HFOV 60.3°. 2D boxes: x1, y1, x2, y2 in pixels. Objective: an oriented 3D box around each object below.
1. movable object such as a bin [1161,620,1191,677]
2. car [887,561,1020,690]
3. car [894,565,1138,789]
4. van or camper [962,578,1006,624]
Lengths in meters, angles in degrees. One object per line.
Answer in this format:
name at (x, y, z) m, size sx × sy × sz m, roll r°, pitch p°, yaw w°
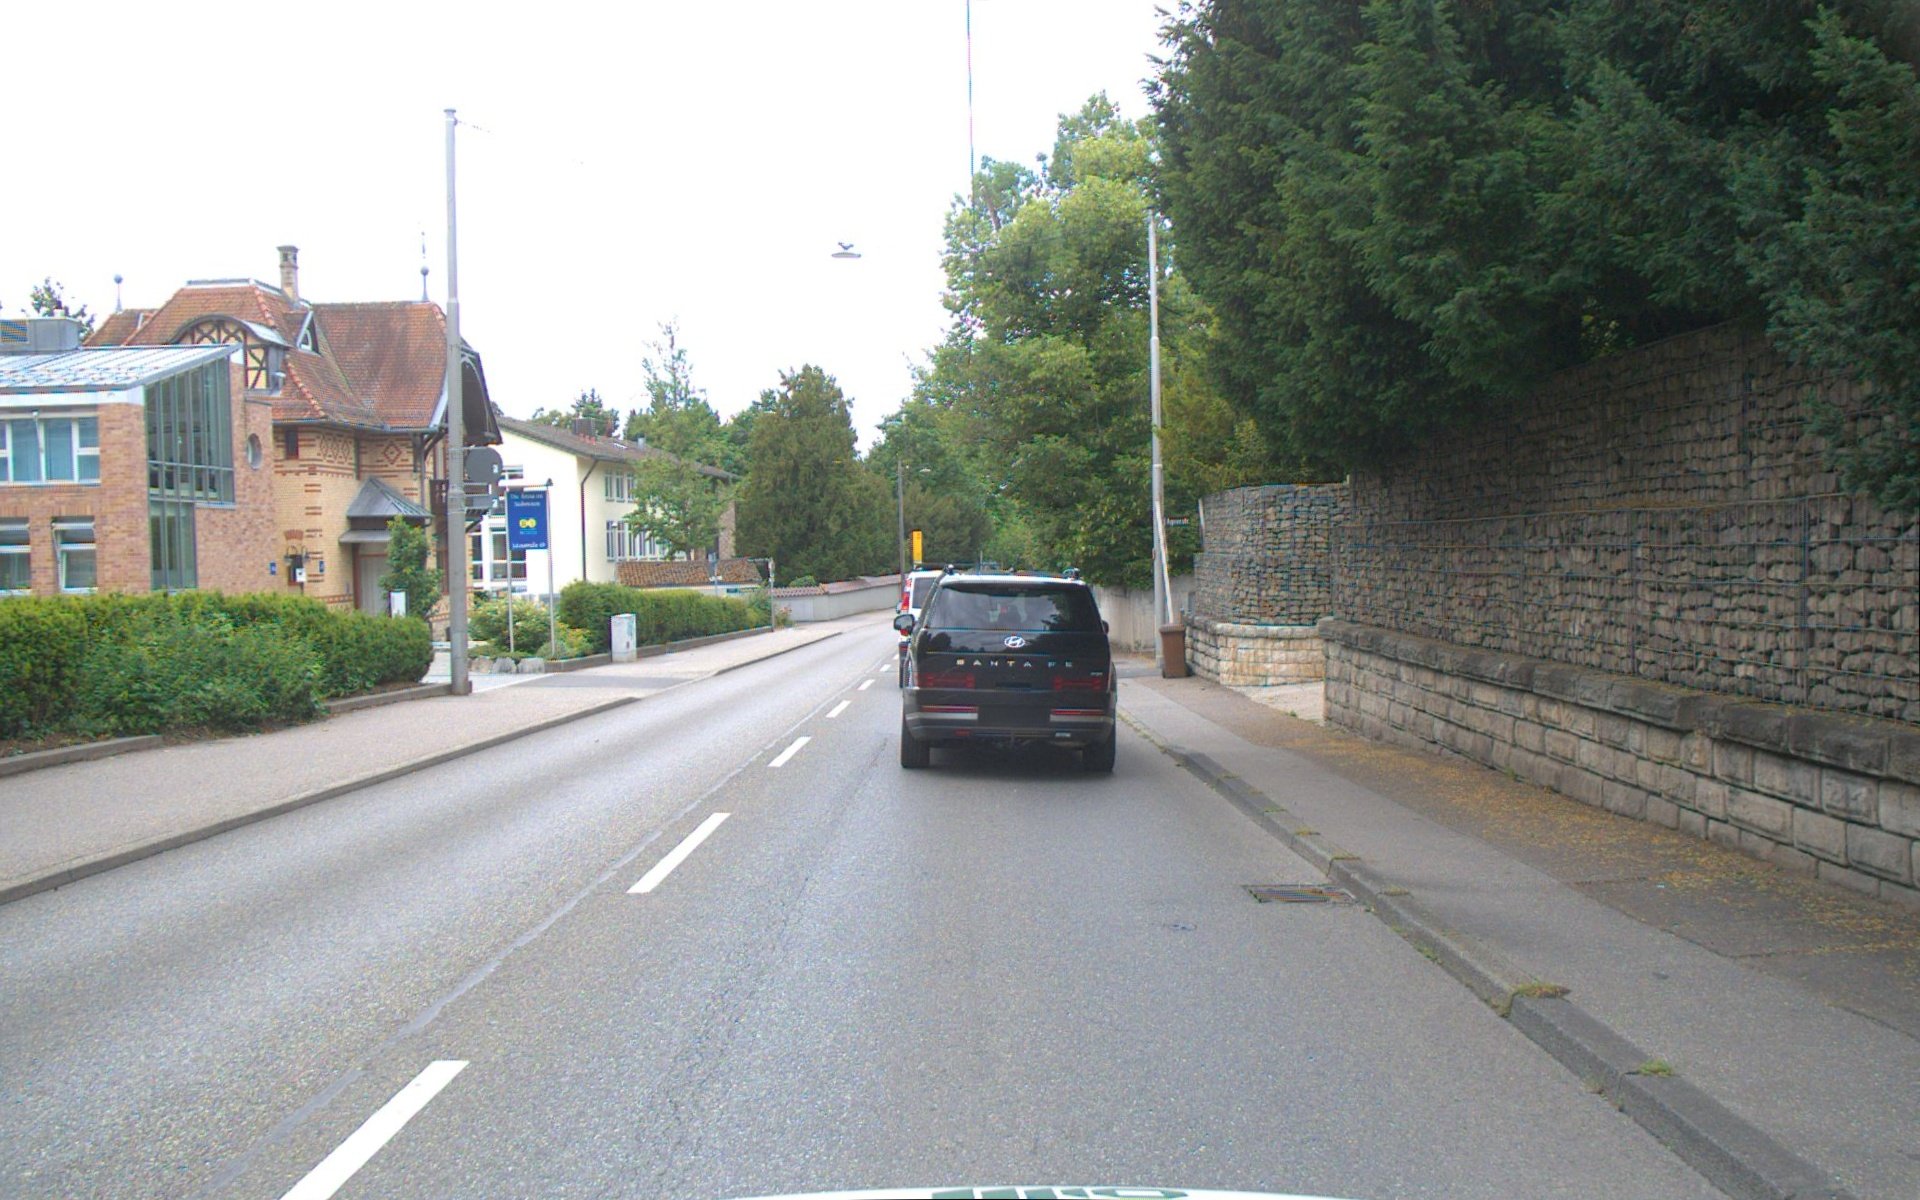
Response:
movable object such as a bin at (3.687, 0.825, 28.214) m, size 0.435 × 0.925 × 0.394 m, roll -4°, pitch -1°, yaw 9°
car at (-0.191, 0.424, 28.122) m, size 1.919 × 1.990 × 4.219 m, roll 1°, pitch -1°, yaw -5°
car at (0.470, 0.598, 15.406) m, size 1.917 × 1.742 × 4.223 m, roll 2°, pitch 1°, yaw 0°
van or camper at (1.217, 0.025, 81.587) m, size 1.640 × 2.042 × 3.942 m, roll -1°, pitch 2°, yaw 8°
